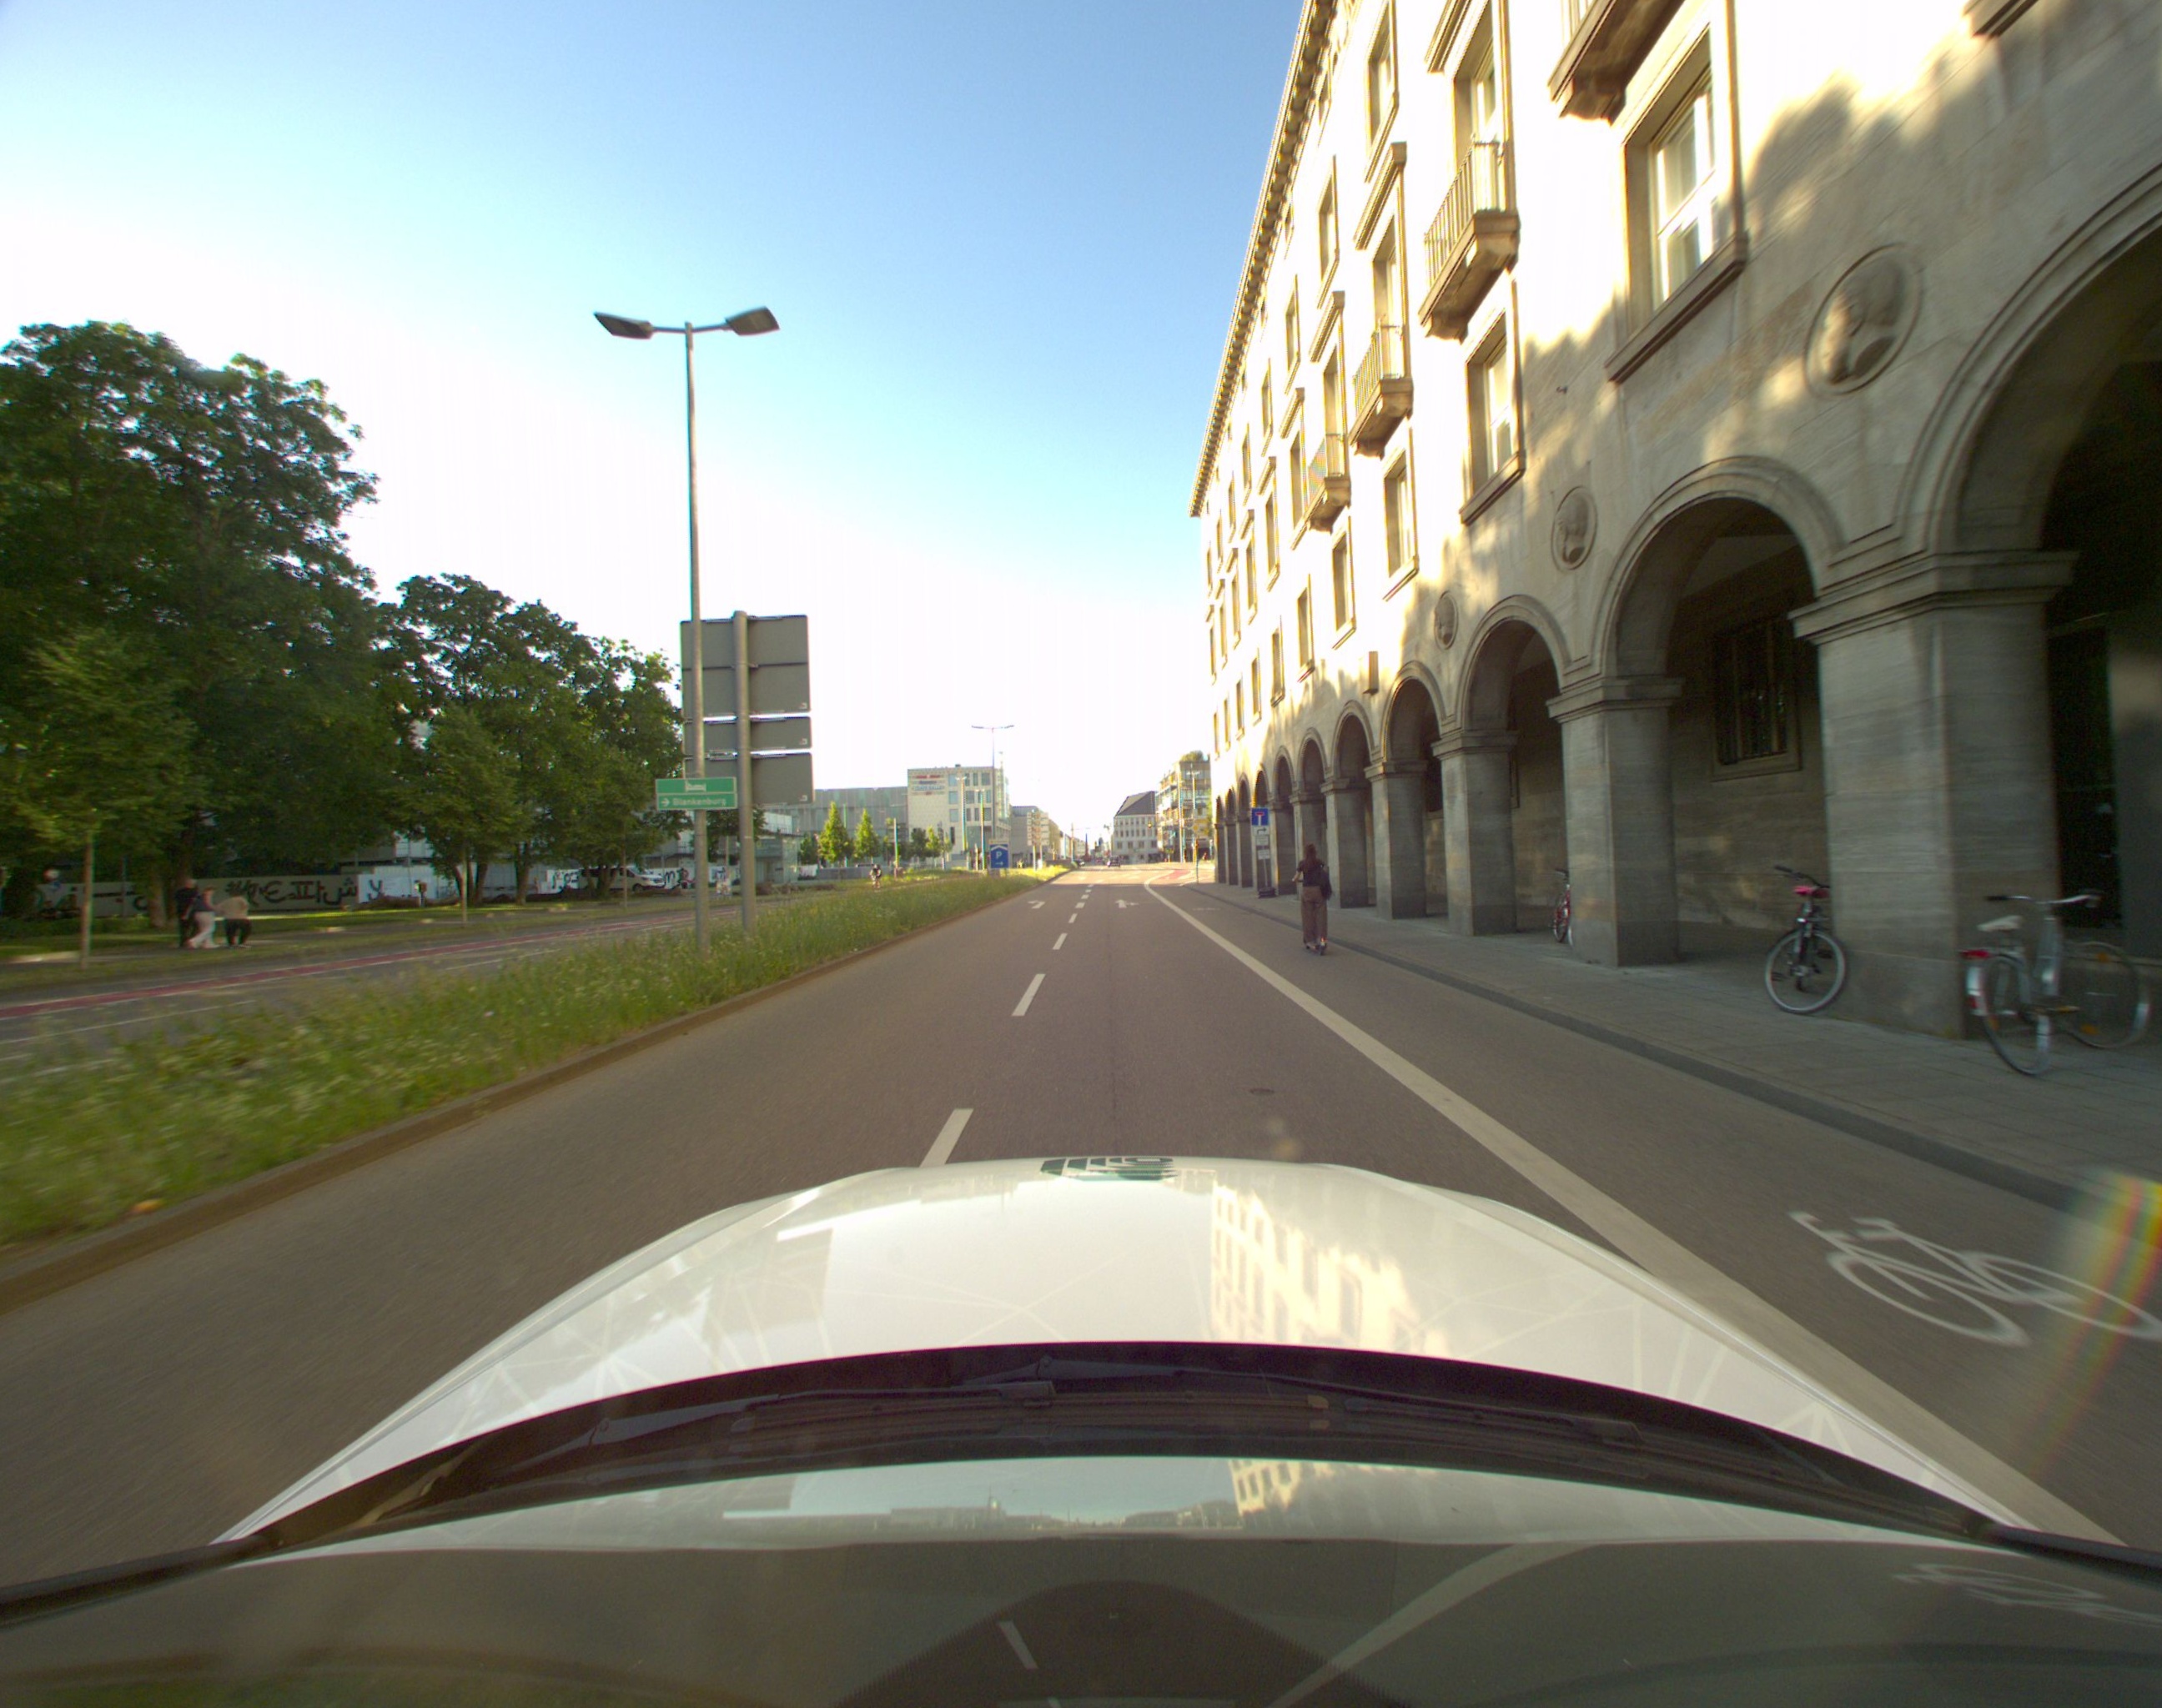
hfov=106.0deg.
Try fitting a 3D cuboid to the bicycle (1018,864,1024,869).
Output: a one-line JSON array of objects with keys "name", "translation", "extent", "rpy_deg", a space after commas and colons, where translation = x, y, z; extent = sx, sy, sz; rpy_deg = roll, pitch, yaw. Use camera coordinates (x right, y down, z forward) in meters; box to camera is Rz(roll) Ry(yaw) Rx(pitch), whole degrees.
[{"name": "bicycle", "translation": [-9.941, 2.040, 135.113], "extent": [0.608, 0.861, 1.955], "rpy_deg": [-2, 0, 8]}]

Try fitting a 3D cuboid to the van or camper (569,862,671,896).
[{"name": "van or camper", "translation": [-31.335, 1.738, 55.500], "extent": [5.639, 2.014, 2.259], "rpy_deg": [-3, -2, 3]}]

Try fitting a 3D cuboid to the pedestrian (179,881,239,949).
[{"name": "pedestrian", "translation": [-23.400, 1.629, 21.864], "extent": [0.767, 1.740, 0.762], "rpy_deg": [-2, -1, 5]}]

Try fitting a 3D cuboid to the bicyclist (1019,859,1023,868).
[{"name": "bicyclist", "translation": [-9.957, 1.560, 135.108], "extent": [0.604, 1.489, 0.682], "rpy_deg": [-2, -1, 7]}]

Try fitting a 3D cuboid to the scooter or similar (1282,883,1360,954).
[{"name": "scooter or similar", "translation": [3.771, 0.992, 12.858], "extent": [0.558, 1.031, 1.108], "rpy_deg": [-2, -1, -24]}]

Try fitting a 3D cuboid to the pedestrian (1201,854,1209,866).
[{"name": "pedestrian", "translation": [18.193, 0.900, 119.621], "extent": [0.814, 1.748, 1.047], "rpy_deg": [-3, -1, 24]}]

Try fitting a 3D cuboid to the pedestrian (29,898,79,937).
[{"name": "pedestrian", "translation": [-43.298, 2.678, 34.336], "extent": [0.900, 1.540, 0.893], "rpy_deg": [-2, -1, -5]}]

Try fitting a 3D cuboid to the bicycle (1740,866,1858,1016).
[{"name": "bicycle", "translation": [6.200, 0.686, 7.001], "extent": [0.604, 1.050, 1.724], "rpy_deg": [-4, -1, 45]}]

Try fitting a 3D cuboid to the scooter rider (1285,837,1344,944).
[{"name": "scooter rider", "translation": [3.713, 0.568, 12.960], "extent": [0.564, 1.632, 0.645], "rpy_deg": [-2, -1, -24]}]

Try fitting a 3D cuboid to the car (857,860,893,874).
[{"name": "car", "translation": [-29.800, 1.878, 117.867], "extent": [4.633, 1.810, 1.868], "rpy_deg": [-2, -2, -6]}]

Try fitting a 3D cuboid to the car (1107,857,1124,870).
[{"name": "car", "translation": [4.447, 1.243, 106.098], "extent": [1.773, 1.564, 3.783], "rpy_deg": [-2, -1, -5]}]

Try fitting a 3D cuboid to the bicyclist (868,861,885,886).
[{"name": "bicyclist", "translation": [-13.705, 1.309, 54.502], "extent": [0.744, 1.590, 1.202], "rpy_deg": [-3, -2, 2]}]

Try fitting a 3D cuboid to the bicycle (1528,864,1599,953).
[{"name": "bicycle", "translation": [6.501, 0.696, 11.036], "extent": [0.466, 1.050, 1.722], "rpy_deg": [-4, -1, 21]}]

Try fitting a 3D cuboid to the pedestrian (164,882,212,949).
[{"name": "pedestrian", "translation": [-24.033, 1.653, 21.920], "extent": [0.521, 1.740, 0.656], "rpy_deg": [-2, -1, 6]}]

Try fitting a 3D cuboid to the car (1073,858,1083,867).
[{"name": "car", "translation": [-0.663, 1.836, 173.959], "extent": [1.986, 1.742, 4.649], "rpy_deg": [-2, 1, 2]}]

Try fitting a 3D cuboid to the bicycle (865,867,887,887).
[{"name": "bicycle", "translation": [-13.686, 1.532, 54.506], "extent": [0.755, 1.275, 2.259], "rpy_deg": [-3, -2, 2]}]

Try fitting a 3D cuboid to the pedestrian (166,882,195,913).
[{"name": "pedestrian", "translation": [-50.075, 2.401, 45.292], "extent": [0.720, 1.641, 0.746], "rpy_deg": [-2, -1, 7]}]

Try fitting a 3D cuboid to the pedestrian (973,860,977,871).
[{"name": "pedestrian", "translation": [-21.054, 2.285, 161.952], "extent": [0.622, 2.014, 0.515], "rpy_deg": [-2, -1, -6]}]

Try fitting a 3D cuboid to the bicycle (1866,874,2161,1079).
[{"name": "bicycle", "translation": [5.875, 0.705, 5.078], "extent": [1.710, 1.050, 0.525], "rpy_deg": [-4, -1, -13]}]

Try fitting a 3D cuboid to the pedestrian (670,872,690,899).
[{"name": "pedestrian", "translation": [-23.761, 1.871, 48.303], "extent": [0.609, 1.527, 0.944], "rpy_deg": [-2, 0, 7]}]

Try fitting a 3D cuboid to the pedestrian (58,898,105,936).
[{"name": "pedestrian", "translation": [-43.332, 2.718, 35.307], "extent": [0.900, 1.540, 0.893], "rpy_deg": [-2, -1, -5]}]

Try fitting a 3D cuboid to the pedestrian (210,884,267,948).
[{"name": "pedestrian", "translation": [-22.576, 1.644, 21.838], "extent": [0.738, 1.641, 0.727], "rpy_deg": [-2, -1, 5]}]

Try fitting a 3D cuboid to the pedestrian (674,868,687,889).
[{"name": "pedestrian", "translation": [-32.986, 2.030, 67.109], "extent": [0.577, 1.688, 0.835], "rpy_deg": [-2, 0, 0]}]
